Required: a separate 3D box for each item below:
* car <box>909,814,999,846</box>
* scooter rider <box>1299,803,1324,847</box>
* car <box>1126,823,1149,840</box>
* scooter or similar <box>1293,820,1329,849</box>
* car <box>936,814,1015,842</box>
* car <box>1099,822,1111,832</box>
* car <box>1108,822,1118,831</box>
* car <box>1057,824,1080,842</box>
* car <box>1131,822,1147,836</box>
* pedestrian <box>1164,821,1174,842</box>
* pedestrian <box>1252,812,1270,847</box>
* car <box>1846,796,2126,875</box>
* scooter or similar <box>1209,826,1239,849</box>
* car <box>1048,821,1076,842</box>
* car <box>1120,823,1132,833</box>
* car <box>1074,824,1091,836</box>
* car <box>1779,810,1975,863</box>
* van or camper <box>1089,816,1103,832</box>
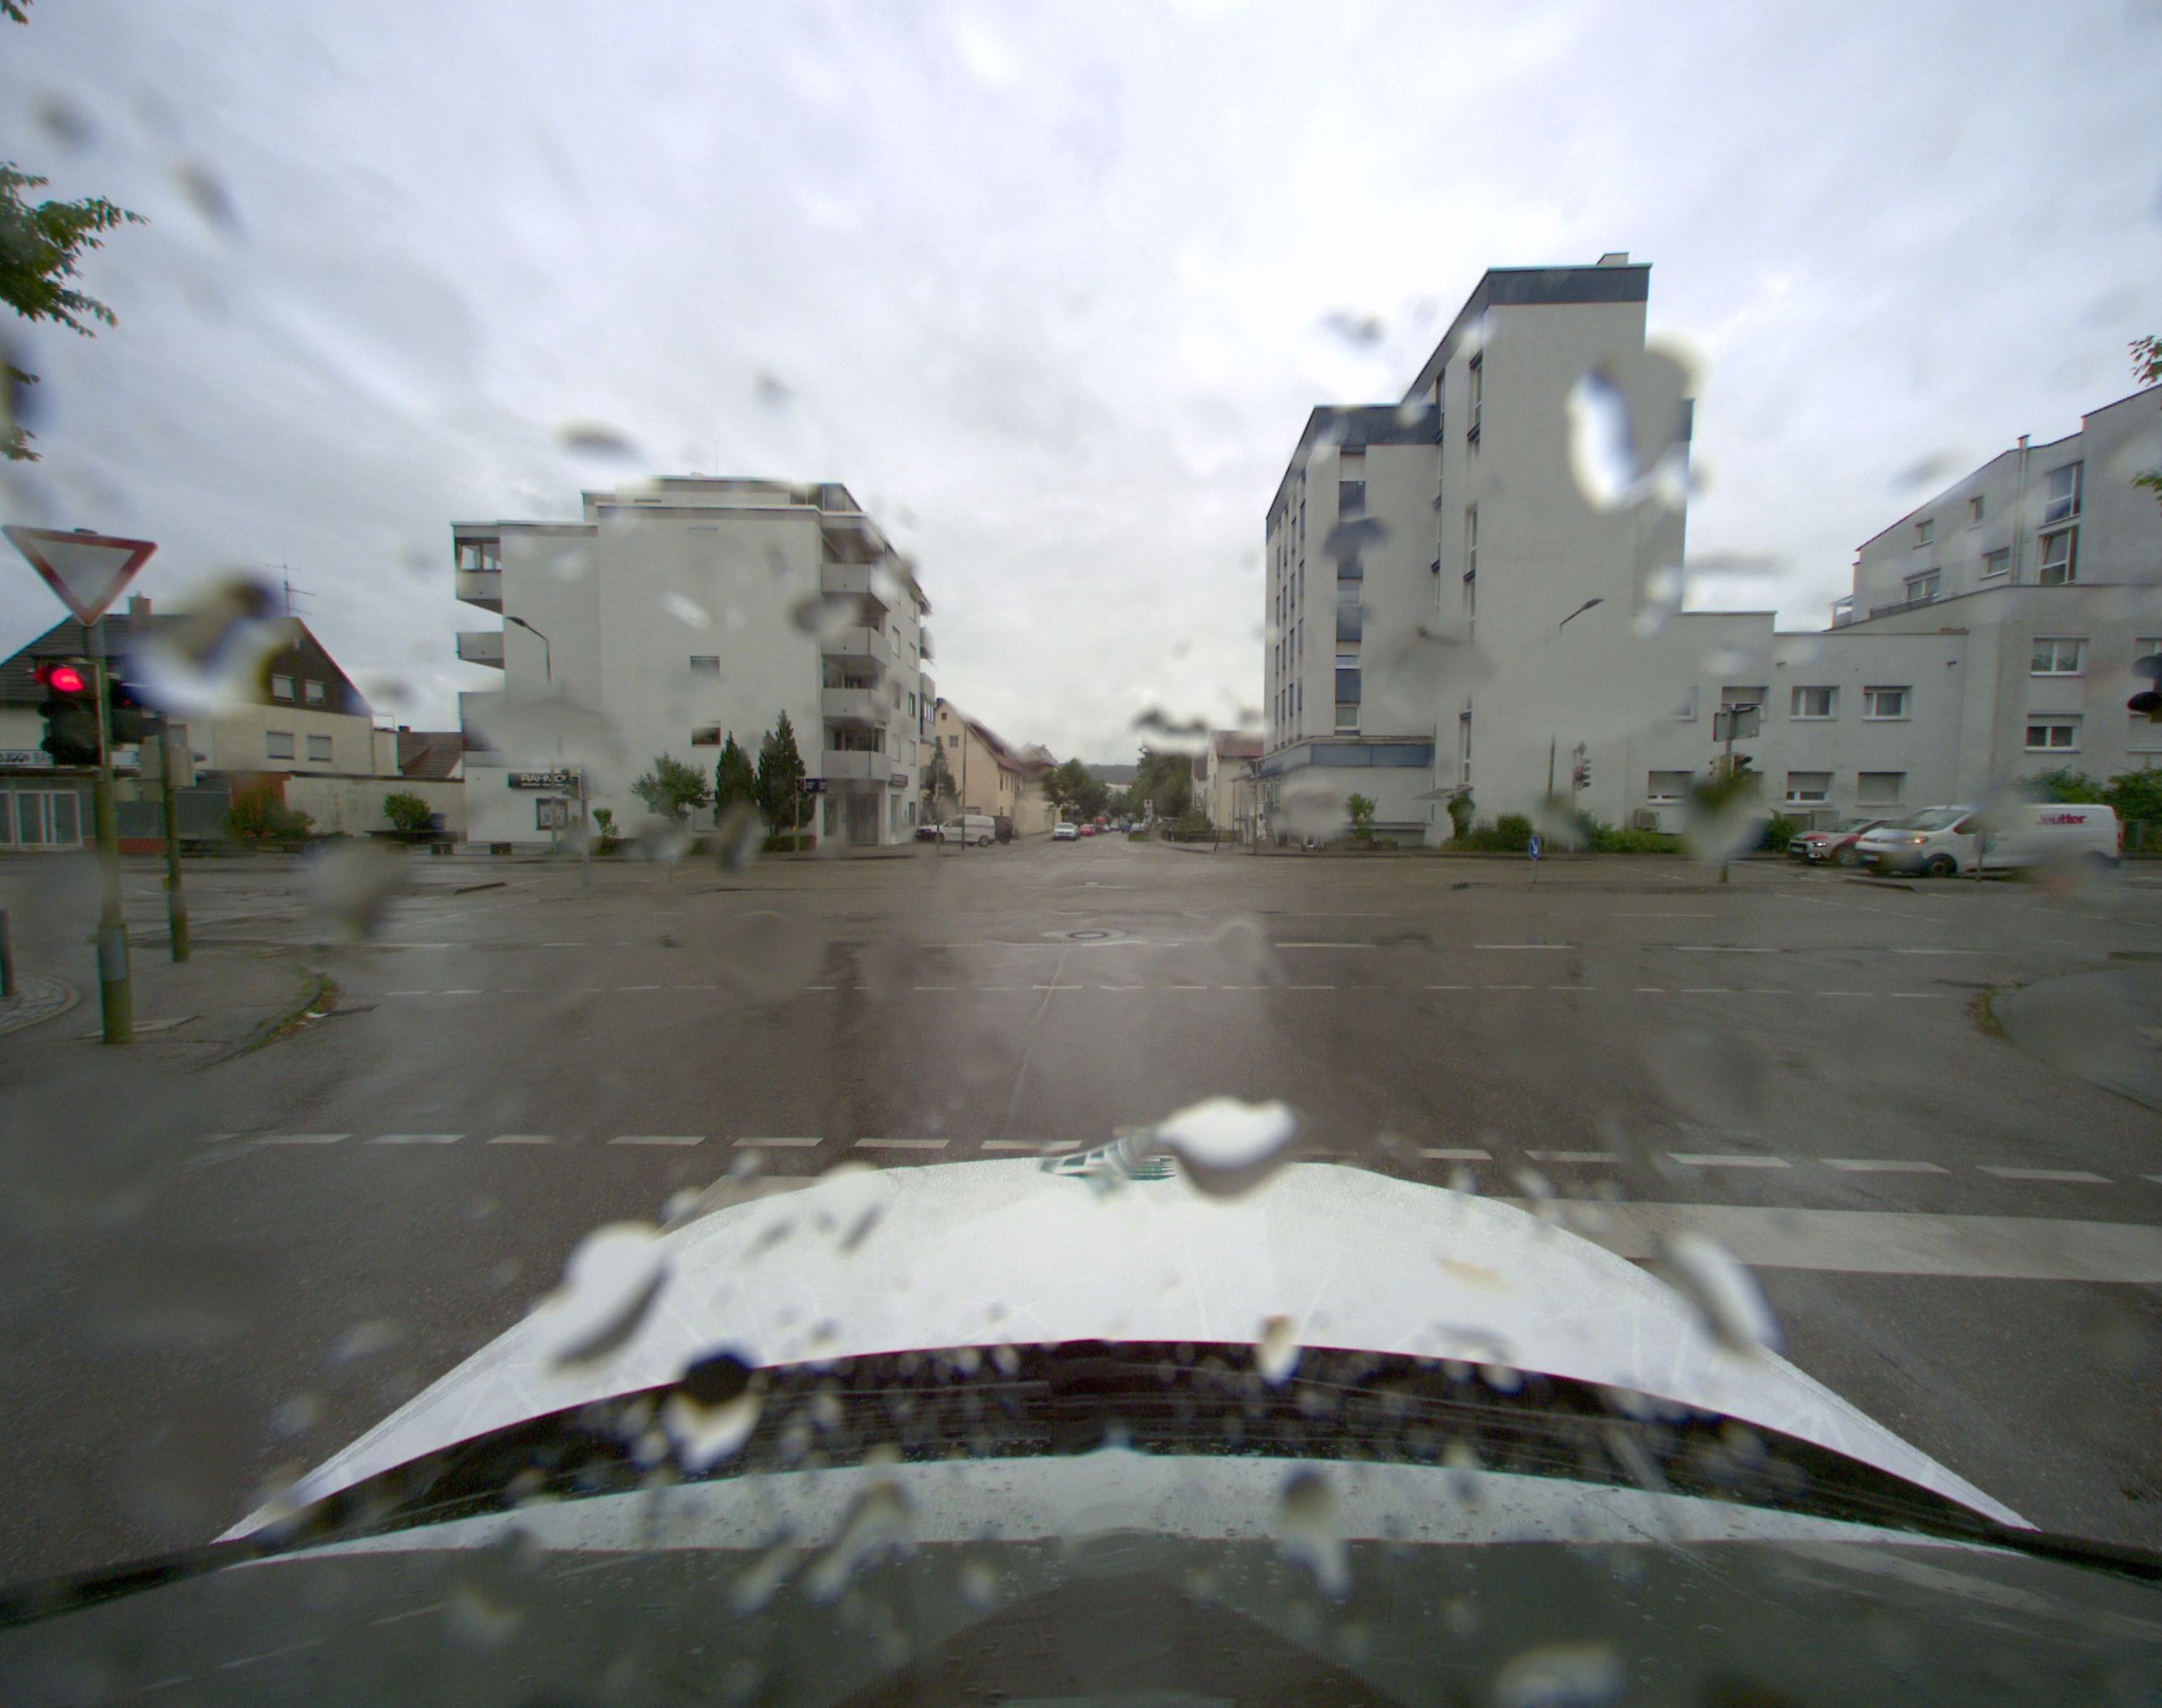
[{"bbox_3d":[-7.446,-1.431,47.902,4.866,1.835,1.978,-2,2,-36],"label":"car"},{"bbox_3d":[9.513,-1.181,33.602,0.755,1.795,0.668,-2,1,-21],"label":"scooter rider"},{"bbox_3d":[5.633,-2.252,81.521,2.137,1.589,4.131,-1,2,3],"label":"car"},{"bbox_3d":[9.493,-0.802,33.658,0.760,1.171,1.305,-2,2,-22],"label":"scooter or similar"},{"bbox_3d":[-7.080,-1.751,54.918,4.866,1.835,1.978,-2,2,-36],"label":"car"},{"bbox_3d":[4.041,-4.582,138.760,1.894,1.558,4.195,-1,2,3],"label":"car"},{"bbox_3d":[6.138,-5.241,154.713,1.894,1.558,4.195,-1,2,3],"label":"car"},{"bbox_3d":[-1.168,-2.074,79.570,1.985,1.625,4.195,-1,2,3],"label":"car"},{"bbox_3d":[7.350,-3.183,103.621,1.894,1.745,4.195,-1,2,3],"label":"car"},{"bbox_3d":[7.664,-1.961,70.818,0.744,1.848,0.525,3,1,-4],"label":"pedestrian"},{"bbox_3d":[8.702,-1.203,39.332,0.646,1.647,0.525,3,1,-4],"label":"pedestrian"},{"bbox_3d":[23.130,-0.445,21.000,4.787,1.916,1.831,0,0,8],"label":"car"},{"bbox_3d":[6.766,-0.792,38.586,1.265,1.081,0.876,-1,1,-3],"label":"scooter or similar"},{"bbox_3d":[-1.547,-1.902,68.166,1.985,1.625,4.195,-1,2,3],"label":"car"},{"bbox_3d":[7.442,-4.311,135.045,1.985,1.683,4.004,-1,2,3],"label":"car"},{"bbox_3d":[0.186,-3.073,104.605,1.894,1.558,4.195,-1,2,3],"label":"car"},{"bbox_3d":[23.839,-0.529,24.518,3.966,1.467,1.835,-1,2,6],"label":"car"},{"bbox_3d":[2.371,-4.636,126.763,1.894,2.513,4.242,-1,2,3],"label":"van or camper"}]
